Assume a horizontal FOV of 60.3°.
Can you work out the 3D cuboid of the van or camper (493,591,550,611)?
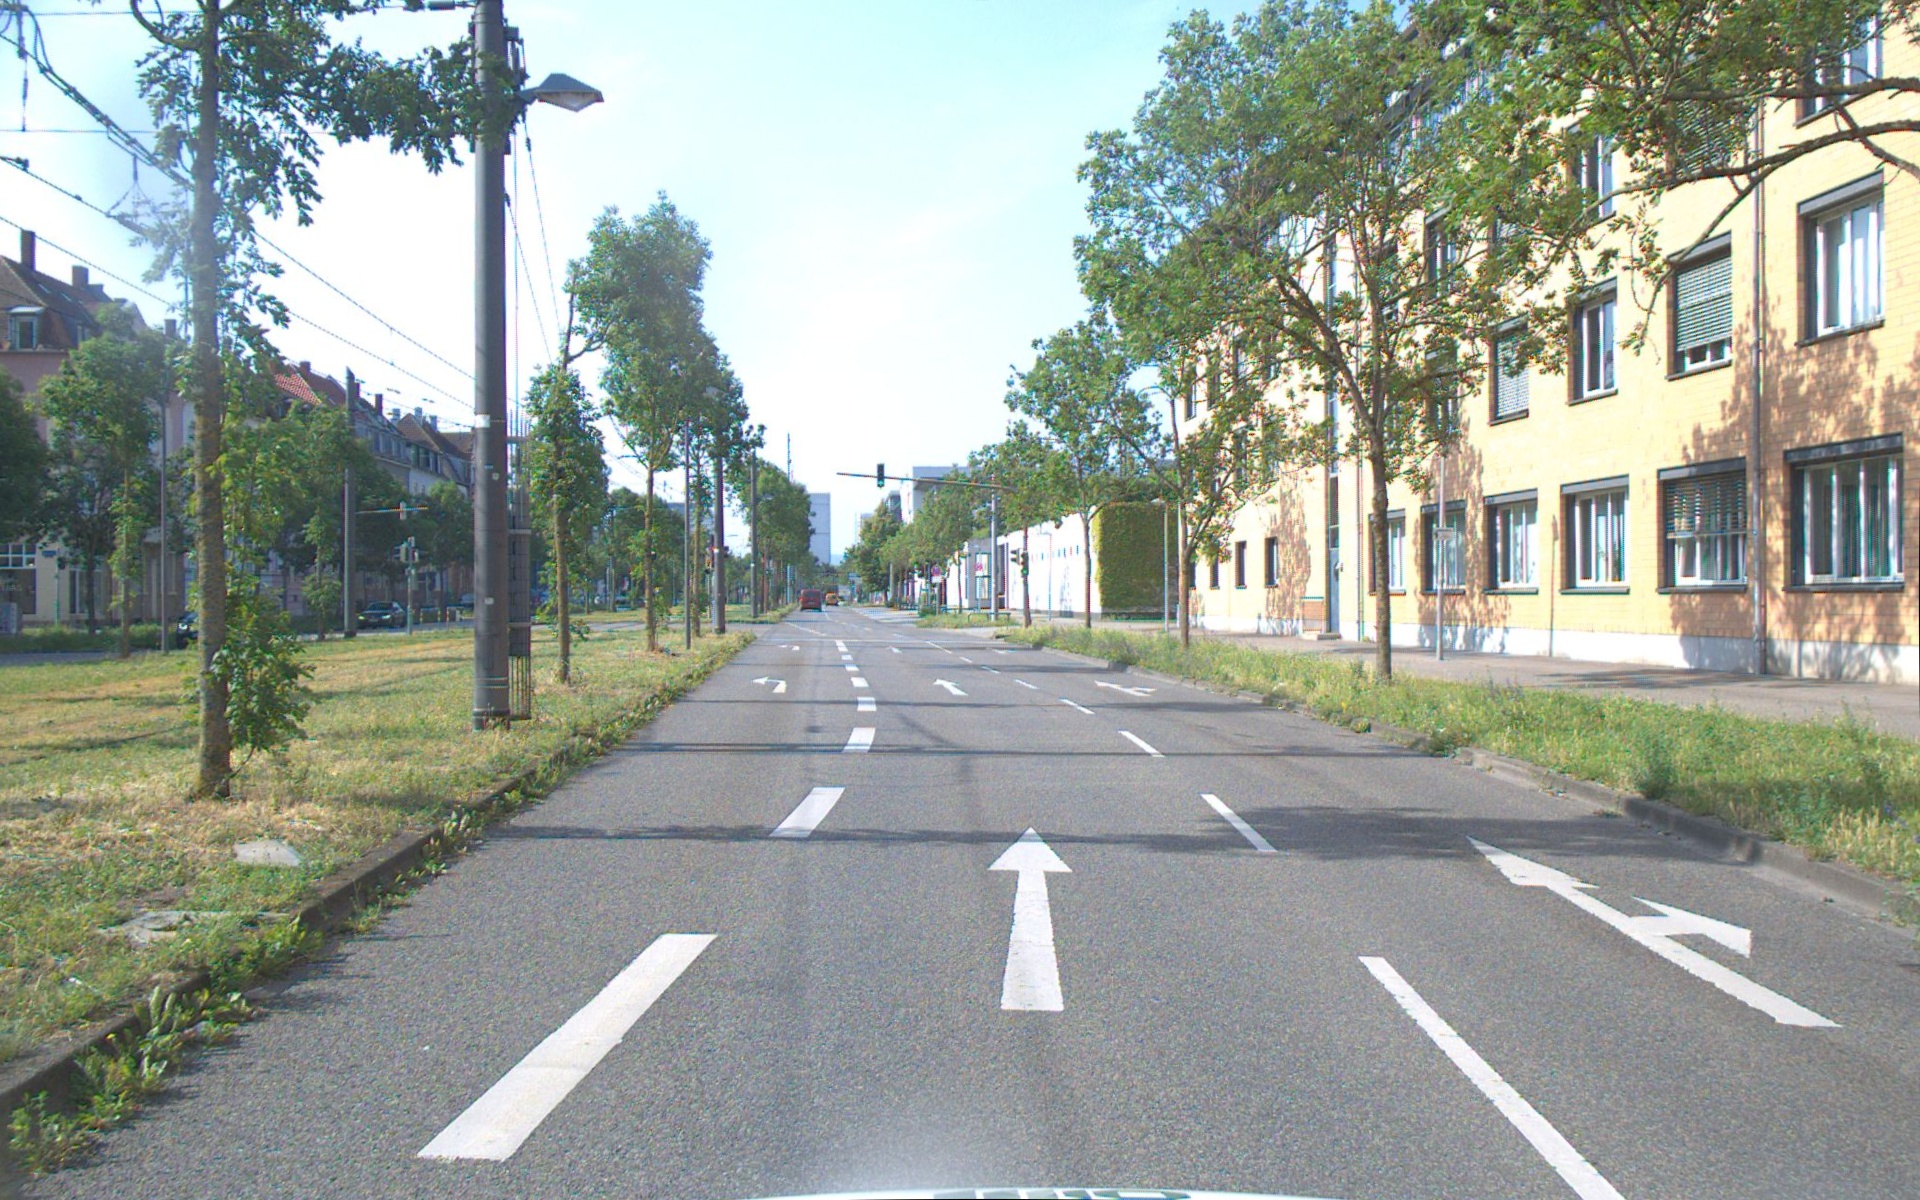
[{"bbox_3d":[-38.730,0.076,146.151,4.742,1.652,2.000,1,-1,28],"label":"van or camper"}]

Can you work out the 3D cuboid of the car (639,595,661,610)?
[{"bbox_3d":[-38.459,0.328,205.433,1.925,1.723,4.296,2,1,-1],"label":"car"}]

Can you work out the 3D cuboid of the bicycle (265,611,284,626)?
[{"bbox_3d":[-38.380,1.022,92.615,0.429,0.803,1.945,2,-1,-6],"label":"bicycle"}]

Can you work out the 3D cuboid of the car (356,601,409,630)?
[{"bbox_3d":[-30.835,0.844,88.391,1.777,1.458,3.921,2,-1,-6],"label":"car"}]

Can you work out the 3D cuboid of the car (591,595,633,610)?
[{"bbox_3d":[-44.249,0.288,210.336,5.209,1.768,1.997,1,-1,29],"label":"car"}]

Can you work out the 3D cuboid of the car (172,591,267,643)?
[{"bbox_3d":[-25.832,0.589,57.818,1.730,1.684,3.996,2,-1,-5],"label":"car"}]

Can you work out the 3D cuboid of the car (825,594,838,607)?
[{"bbox_3d":[-17.487,0.078,225.771,1.714,1.679,3.213,2,-1,-4],"label":"car"}]

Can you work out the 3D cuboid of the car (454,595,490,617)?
[{"bbox_3d":[-39.165,0.481,132.761,1.955,1.657,4.768,2,0,-7],"label":"car"}]

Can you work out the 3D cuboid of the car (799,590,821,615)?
[{"bbox_3d":[-12.869,0.216,142.043,1.714,2.049,3.213,2,-1,-4],"label":"car"}]

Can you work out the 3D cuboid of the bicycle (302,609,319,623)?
[{"bbox_3d":[-39.040,0.962,99.410,0.439,0.872,1.945,2,-1,-6],"label":"bicycle"}]
